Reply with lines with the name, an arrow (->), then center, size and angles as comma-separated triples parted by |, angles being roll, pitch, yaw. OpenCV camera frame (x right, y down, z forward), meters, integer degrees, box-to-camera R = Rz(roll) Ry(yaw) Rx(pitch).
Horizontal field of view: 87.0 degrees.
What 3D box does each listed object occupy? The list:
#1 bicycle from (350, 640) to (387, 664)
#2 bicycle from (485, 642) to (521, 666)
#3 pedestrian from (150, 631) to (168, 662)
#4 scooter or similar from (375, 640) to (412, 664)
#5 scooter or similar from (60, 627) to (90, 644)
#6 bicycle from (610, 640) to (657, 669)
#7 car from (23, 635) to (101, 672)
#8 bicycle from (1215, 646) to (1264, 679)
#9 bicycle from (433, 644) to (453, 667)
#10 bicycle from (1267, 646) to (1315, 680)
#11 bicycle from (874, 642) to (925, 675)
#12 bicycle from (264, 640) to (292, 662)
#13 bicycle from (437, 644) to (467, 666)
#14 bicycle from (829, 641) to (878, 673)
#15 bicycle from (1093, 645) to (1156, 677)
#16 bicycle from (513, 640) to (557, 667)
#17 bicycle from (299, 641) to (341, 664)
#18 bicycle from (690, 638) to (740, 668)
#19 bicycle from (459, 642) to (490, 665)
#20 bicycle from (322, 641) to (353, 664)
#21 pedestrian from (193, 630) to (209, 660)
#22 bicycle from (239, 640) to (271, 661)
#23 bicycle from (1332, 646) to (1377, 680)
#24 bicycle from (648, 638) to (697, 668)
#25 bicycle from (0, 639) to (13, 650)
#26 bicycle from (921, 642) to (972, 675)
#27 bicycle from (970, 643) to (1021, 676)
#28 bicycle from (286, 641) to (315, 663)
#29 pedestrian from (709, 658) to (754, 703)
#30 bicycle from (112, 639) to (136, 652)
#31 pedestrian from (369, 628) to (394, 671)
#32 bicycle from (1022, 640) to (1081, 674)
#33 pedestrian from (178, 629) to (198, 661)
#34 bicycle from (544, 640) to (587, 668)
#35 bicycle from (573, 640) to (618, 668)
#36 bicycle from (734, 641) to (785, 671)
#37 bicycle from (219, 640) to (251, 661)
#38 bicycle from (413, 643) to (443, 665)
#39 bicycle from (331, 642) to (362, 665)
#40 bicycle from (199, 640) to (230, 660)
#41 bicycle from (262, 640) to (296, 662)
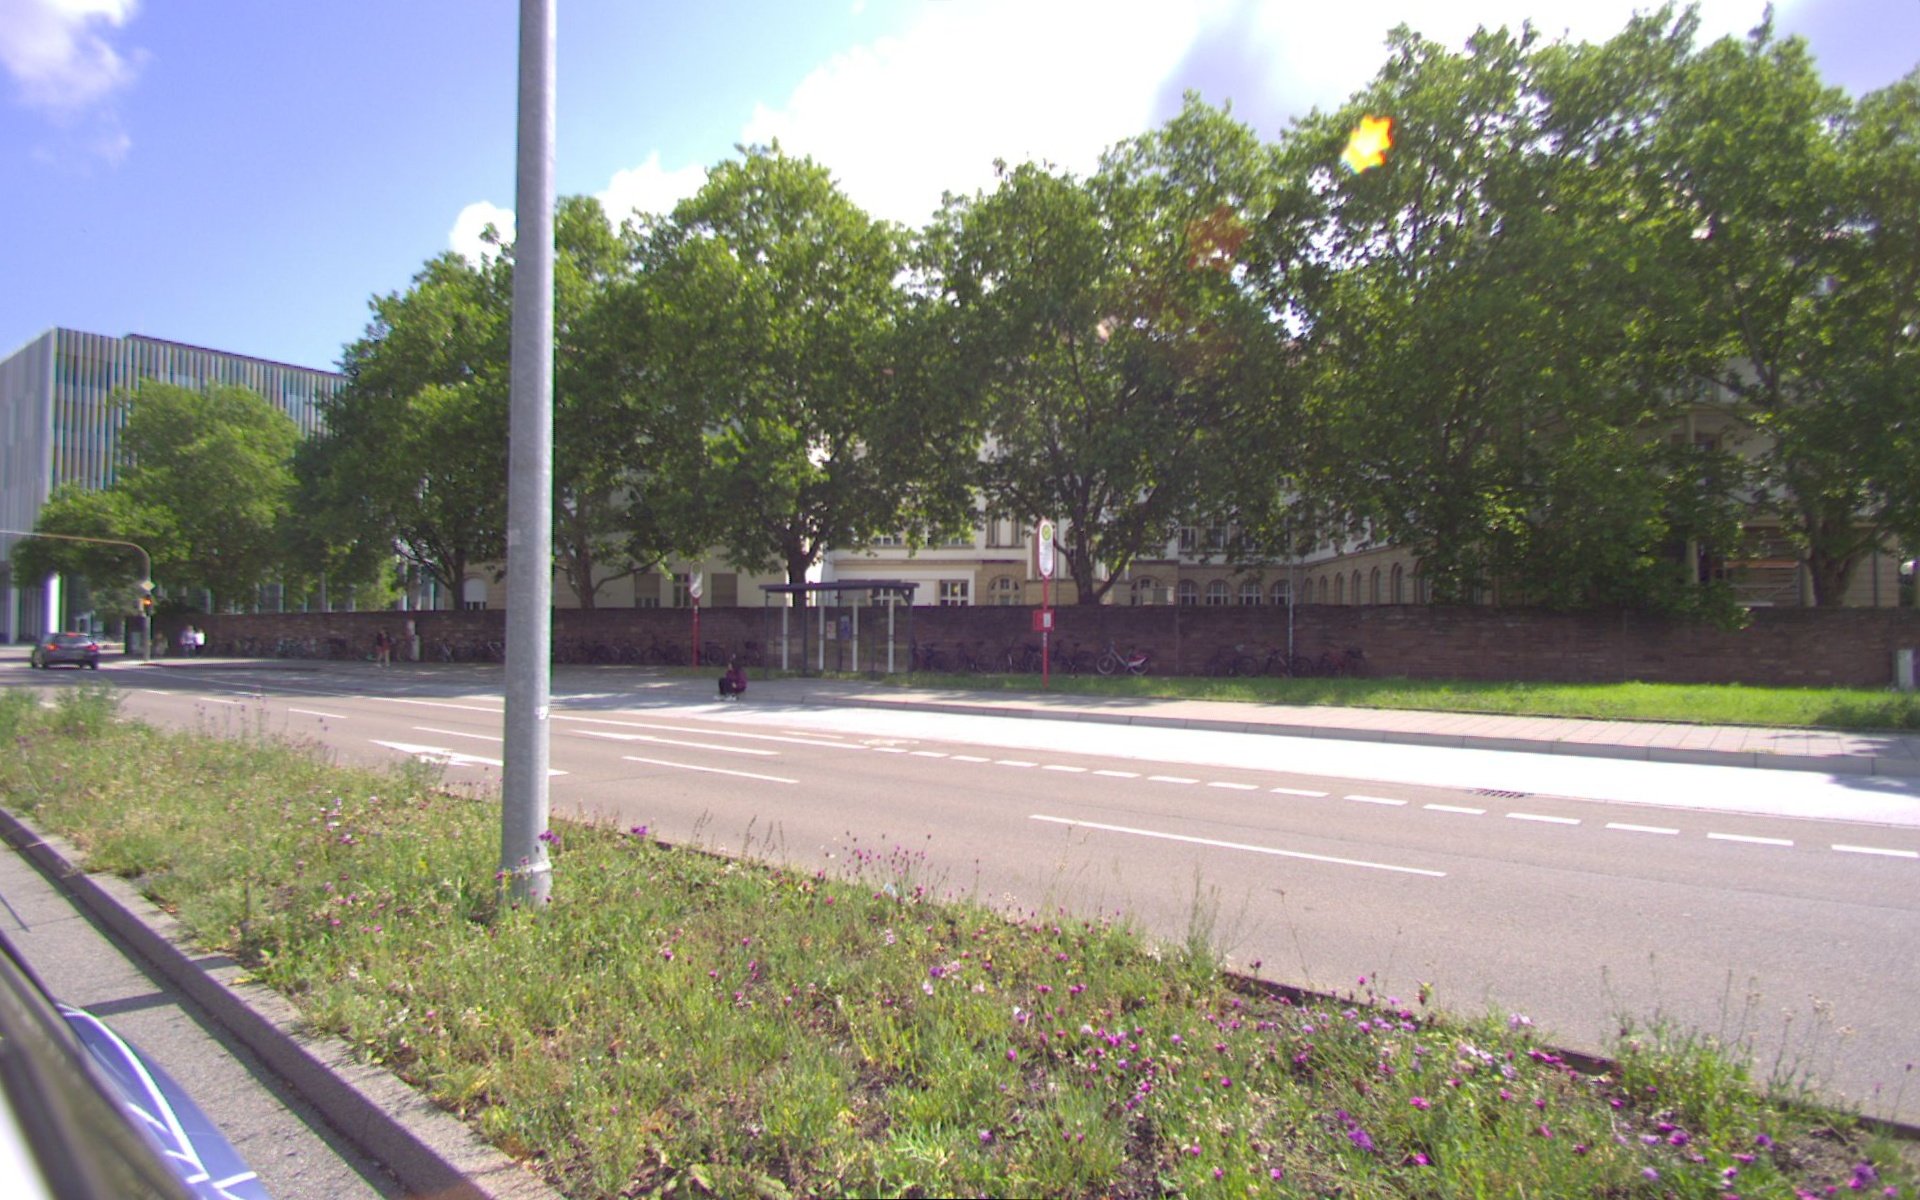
bicycle -> -26.964, 2.362, 46.137 | 1.874, 1.056, 0.576 | -1, -2, 30
bicycle -> -18.837, 2.226, 41.694 | 1.617, 0.962, 0.368 | -1, -2, 24
pedestrian -> -43.247, 2.495, 54.623 | 0.725, 1.664, 0.555 | -2, -3, 34
scooter or similar -> -25.256, 2.318, 45.125 | 1.874, 1.056, 0.576 | -1, -2, 30
scooter or similar -> -60.859, 2.433, 69.599 | 0.498, 1.166, 1.497 | -1, -2, 11
bicycle -> -12.443, 2.068, 38.568 | 1.744, 1.081, 0.579 | -1, -2, 23
car -> -36.442, 2.152, 41.047 | 4.141, 1.456, 1.683 | -2, -4, 39
bicycle -> 8.727, 1.934, 31.586 | 1.444, 1.019, 0.469 | -1, -2, 19
bicycle -> -21.737, 2.316, 42.523 | 0.362, 0.962, 1.627 | 2, -3, -41
bicycle -> 10.207, 1.932, 31.225 | 1.359, 1.019, 0.389 | -1, -2, 19
bicycle -> -2.070, 1.990, 34.619 | 1.618, 1.081, 0.580 | -1, -2, 18
bicycle -> -33.775, 2.518, 50.134 | 1.874, 1.056, 0.367 | -1, -2, 30
bicycle -> -21.739, 2.348, 43.310 | 1.393, 0.962, 0.364 | -1, -2, 24
bicycle -> -3.701, 1.985, 35.177 | 1.618, 1.081, 0.580 | -1, -2, 18
bicycle -> 5.277, 1.942, 32.433 | 1.948, 1.019, 0.469 | -1, -2, 19
bicycle -> -17.131, 2.139, 40.778 | 1.745, 1.081, 0.579 | -1, -2, 24
bicycle -> -30.371, 2.484, 48.020 | 1.863, 1.056, 0.591 | -1, -2, 15
bicycle -> -8.983, 1.934, 37.068 | 1.741, 1.081, 0.580 | -1, -2, 18
bicycle -> -20.441, 2.248, 42.595 | 1.393, 0.962, 0.364 | -1, -2, 24
bicycle -> -28.784, 2.432, 46.800 | 1.874, 1.056, 0.370 | -1, -2, 30
pedestrian -> -39.820, 2.362, 53.088 | 0.615, 1.552, 0.472 | -2, -3, 34
bicycle -> -35.804, 2.551, 51.399 | 1.874, 1.056, 0.560 | -1, -2, 30
bicycle -> 12.001, 1.925, 30.820 | 1.245, 1.019, 0.351 | -1, -2, 19
bicycle -> -10.753, 1.971, 37.835 | 1.741, 1.081, 0.580 | -1, -2, 18
bicycle -> -96.548, 4.460, 101.484 | 0.720, 1.105, 2.194 | -2, -3, 31
bicycle -> -0.449, 1.972, 34.092 | 1.618, 1.081, 0.580 | -1, -2, 18
bicycle -> 1.179, 1.958, 33.590 | 1.618, 1.081, 0.580 | -1, -2, 18
bicycle -> -31.970, 2.495, 49.069 | 1.874, 1.056, 0.367 | -1, -2, 30
pedestrian -> -5.162, 1.818, 22.889 | 0.742, 0.970, 0.687 | -2, -2, 38
bicycle -> -74.050, 3.995, 89.661 | 0.710, 1.105, 2.224 | 0, -2, -14
pedestrian -> -22.414, 1.905, 39.226 | 0.744, 1.622, 0.649 | -2, -2, 40
bicycle -> 2.987, 1.858, 33.078 | 1.858, 1.081, 0.579 | -1, -2, 23
pedestrian -> -40.074, 2.318, 52.534 | 0.729, 1.664, 0.635 | -2, -3, 34
bicycle -> -15.569, 2.109, 39.953 | 1.643, 1.084, 0.626 | -1, -2, 24
bicycle -> -14.176, 2.099, 39.372 | 1.745, 1.081, 0.579 | -1, -2, 24
bicycle -> -7.217, 2.009, 36.448 | 1.741, 1.081, 0.580 | -1, -2, 18
bicycle -> -37.557, 2.590, 52.408 | 1.874, 1.056, 0.625 | -1, -2, 30
bicycle -> -23.089, 2.346, 43.921 | 1.393, 0.962, 0.364 | -1, -2, 24
bicycle -> -28.580, 2.469, 47.135 | 1.874, 1.056, 0.391 | -1, -2, 30
bicycle -> -39.432, 2.631, 53.515 | 1.874, 1.056, 0.625 | -1, -2, 30
bicycle -> -32.984, 2.478, 49.021 | 1.874, 1.056, 0.587 | -1, -2, 30
